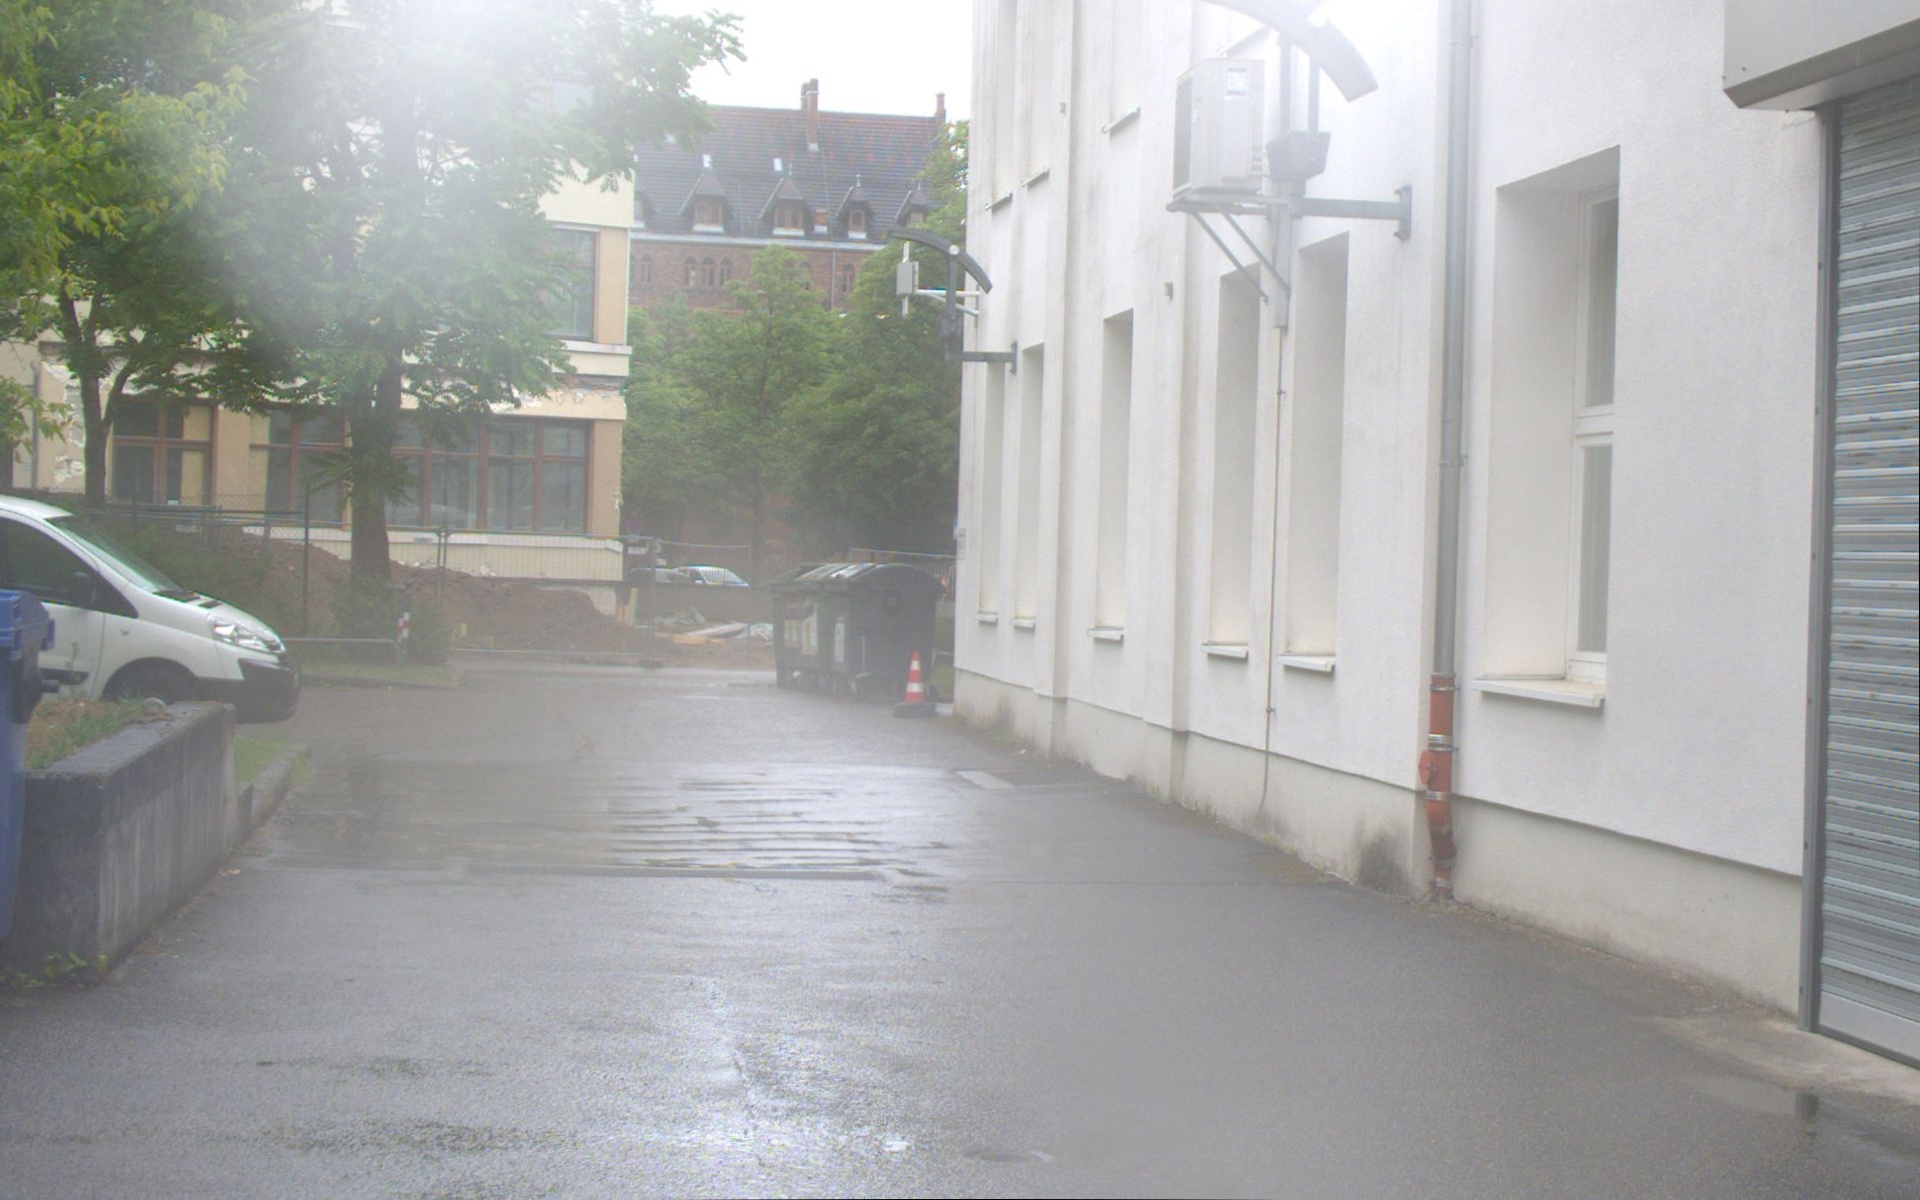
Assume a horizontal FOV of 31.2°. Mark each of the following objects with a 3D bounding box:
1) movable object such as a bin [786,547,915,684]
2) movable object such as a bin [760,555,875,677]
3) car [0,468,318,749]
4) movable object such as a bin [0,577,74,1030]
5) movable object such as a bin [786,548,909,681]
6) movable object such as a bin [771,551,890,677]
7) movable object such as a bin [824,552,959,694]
[{"bbox_3d":[-1.204,0.183,37.628,1.214,1.432,1.294,2,-2,-9],"label":"movable object such as a bin"},{"bbox_3d":[-1.747,0.202,41.986,1.214,1.432,1.259,2,-2,-9],"label":"movable object such as a bin"},{"bbox_3d":[-7.309,0.021,25.693,4.779,2.007,2.001,1,1,-6],"label":"car"},{"bbox_3d":[-3.470,0.591,10.711,1.221,1.332,1.007,2,1,-7],"label":"movable object such as a bin"},{"bbox_3d":[-1.289,0.181,39.266,1.214,1.463,1.236,2,-2,-9],"label":"movable object such as a bin"},{"bbox_3d":[-1.537,0.173,40.622,1.214,1.432,1.259,2,-2,-9],"label":"movable object such as a bin"},{"bbox_3d":[-0.725,0.251,35.985,1.214,1.432,1.236,2,-2,-9],"label":"movable object such as a bin"}]
